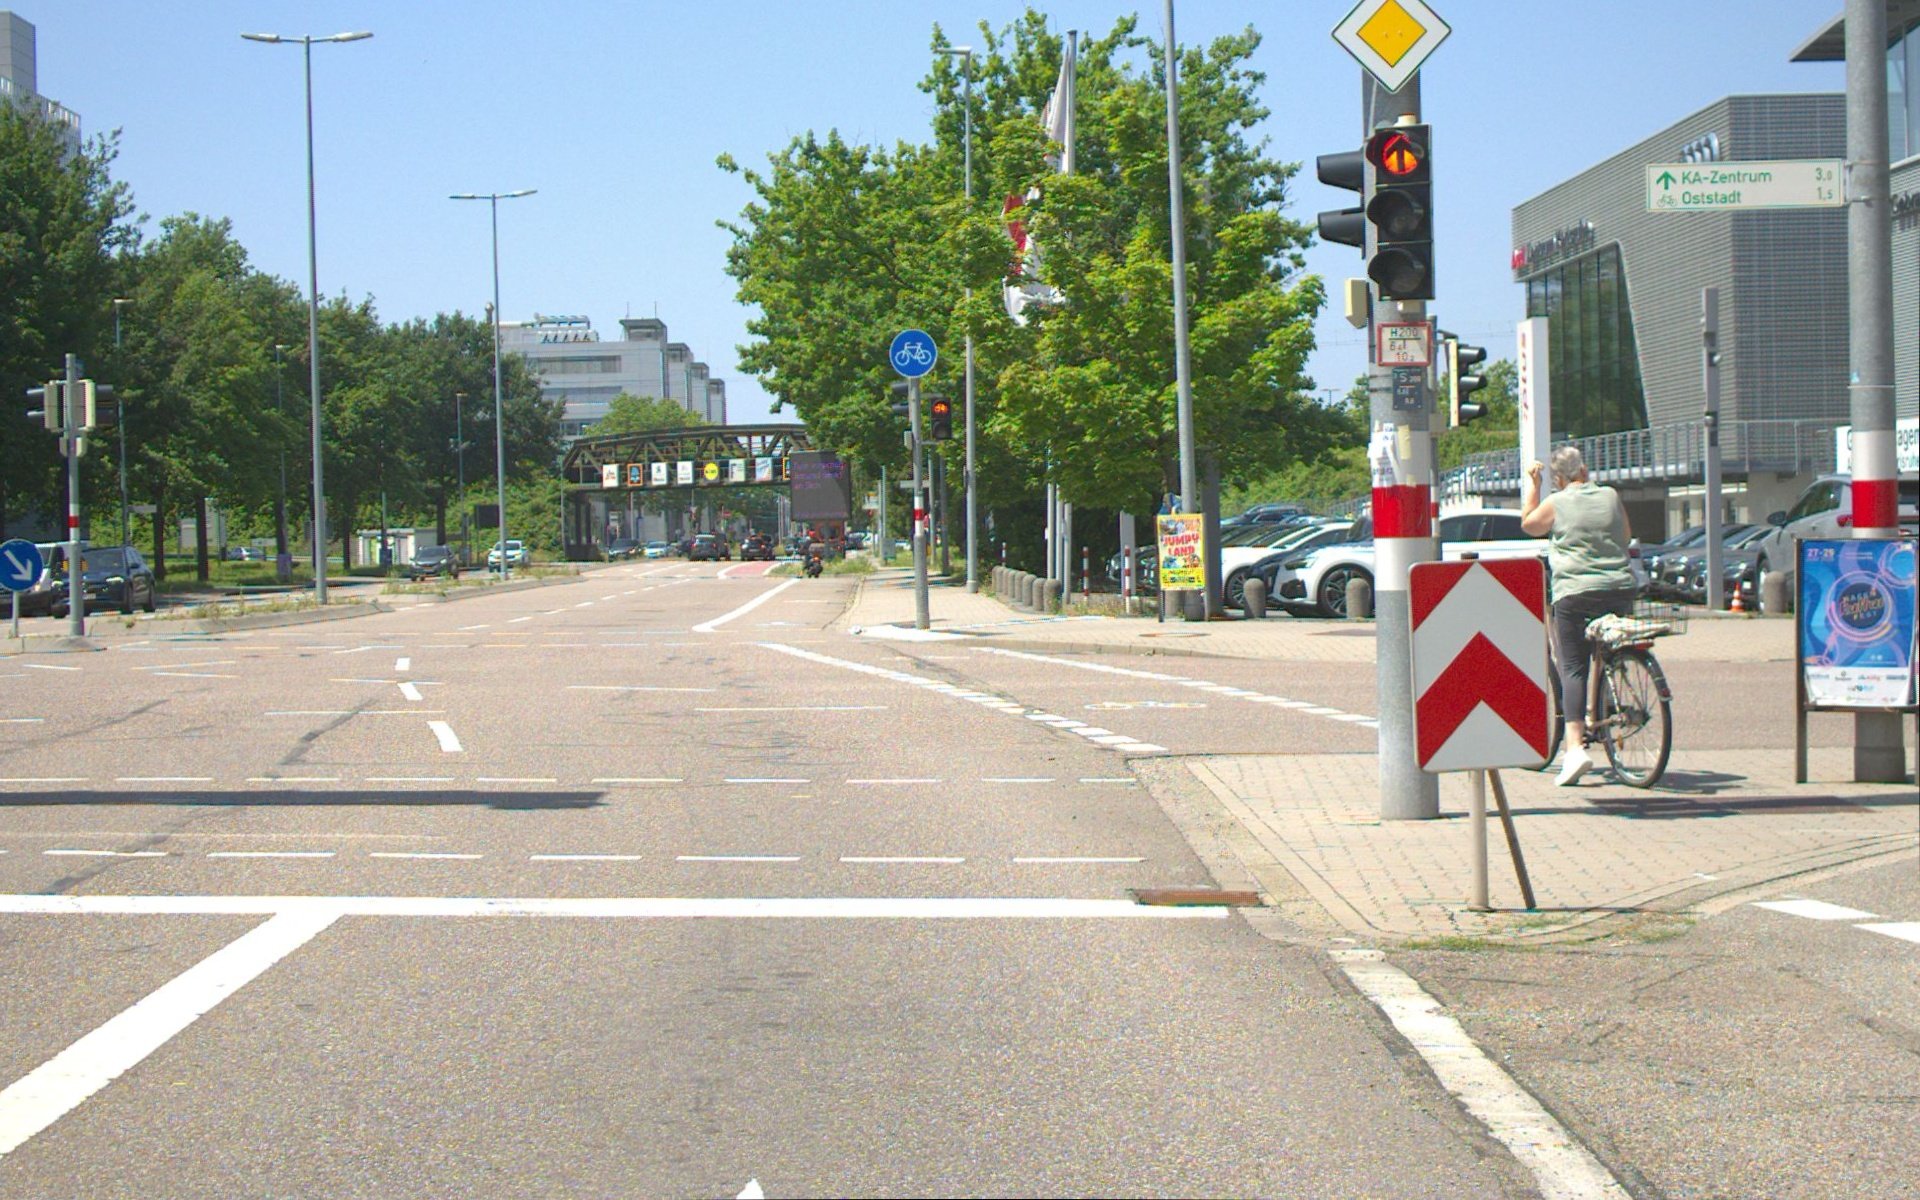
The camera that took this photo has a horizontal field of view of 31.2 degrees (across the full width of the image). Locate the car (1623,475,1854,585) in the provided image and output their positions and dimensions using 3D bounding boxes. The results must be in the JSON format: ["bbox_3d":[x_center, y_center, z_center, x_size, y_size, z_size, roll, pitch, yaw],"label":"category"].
[{"bbox_3d":[15.119,-1.372,66.907,3.987,2.007,2.000,-1,1,0],"label":"car"}]

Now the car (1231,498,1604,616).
[{"bbox_3d":[6.097,-0.574,46.213,4.741,1.452,2.000,-1,0,1],"label":"car"}]

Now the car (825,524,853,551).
[{"bbox_3d":[-8.078,-4.194,229.498,1.772,1.722,4.000,-2,1,-1],"label":"car"}]

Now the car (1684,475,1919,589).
[{"bbox_3d":[15.853,-1.288,64.681,3.987,2.007,2.000,-1,1,0],"label":"car"}]

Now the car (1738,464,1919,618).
[{"bbox_3d":[10.411,-0.715,39.198,1.993,1.634,4.269,-1,2,-1],"label":"car"}]

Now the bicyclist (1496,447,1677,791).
[{"bbox_3d":[3.237,0.082,17.824,0.733,1.743,0.754,0,2,-5],"label":"bicyclist"}]

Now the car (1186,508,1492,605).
[{"bbox_3d":[6.220,-0.727,56.739,4.741,1.452,2.000,-1,2,-3],"label":"car"}]

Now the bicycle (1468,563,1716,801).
[{"bbox_3d":[3.259,0.393,17.913,0.786,1.123,1.921,0,2,-5],"label":"bicycle"}]

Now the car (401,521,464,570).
[{"bbox_3d":[-23.089,-2.376,150.563,1.994,2.007,4.000,-1,-1,2],"label":"car"}]

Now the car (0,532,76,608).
[{"bbox_3d":[-25.662,-0.812,93.643,1.993,2.001,4.765,-2,1,-1],"label":"car"}]

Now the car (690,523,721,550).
[{"bbox_3d":[-16.658,-4.170,224.986,1.772,1.722,4.000,-2,1,-1],"label":"car"}]

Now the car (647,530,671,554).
[{"bbox_3d":[-22.262,-4.301,254.283,1.648,1.647,4.165,-1,1,-4],"label":"car"}]

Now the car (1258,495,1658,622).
[{"bbox_3d":[6.214,-0.539,43.300,4.741,1.452,2.000,-1,2,1],"label":"car"}]

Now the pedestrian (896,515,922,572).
[{"bbox_3d":[-1.385,-1.539,93.493,0.668,1.505,0.736,-1,1,-1],"label":"pedestrian"}]

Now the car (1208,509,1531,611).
[{"bbox_3d":[6.382,-0.644,53.942,4.741,1.452,2.000,-1,2,-3],"label":"car"}]

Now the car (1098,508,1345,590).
[{"bbox_3d":[5.271,-1.050,69.801,4.741,1.452,2.000,-2,2,-3],"label":"car"}]

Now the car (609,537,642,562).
[{"bbox_3d":[-20.681,-3.120,212.558,1.732,1.422,3.706,-3,1,-1],"label":"car"}]

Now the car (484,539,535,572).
[{"bbox_3d":[-23.077,-2.290,176.268,1.926,1.659,4.089,-2,1,1],"label":"car"}]

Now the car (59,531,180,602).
[{"bbox_3d":[-20.208,-0.821,82.820,1.875,1.593,4.497,-2,1,-1],"label":"car"}]

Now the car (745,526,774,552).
[{"bbox_3d":[-13.436,-4.081,230.123,1.772,1.722,4.000,-2,1,-1],"label":"car"}]
